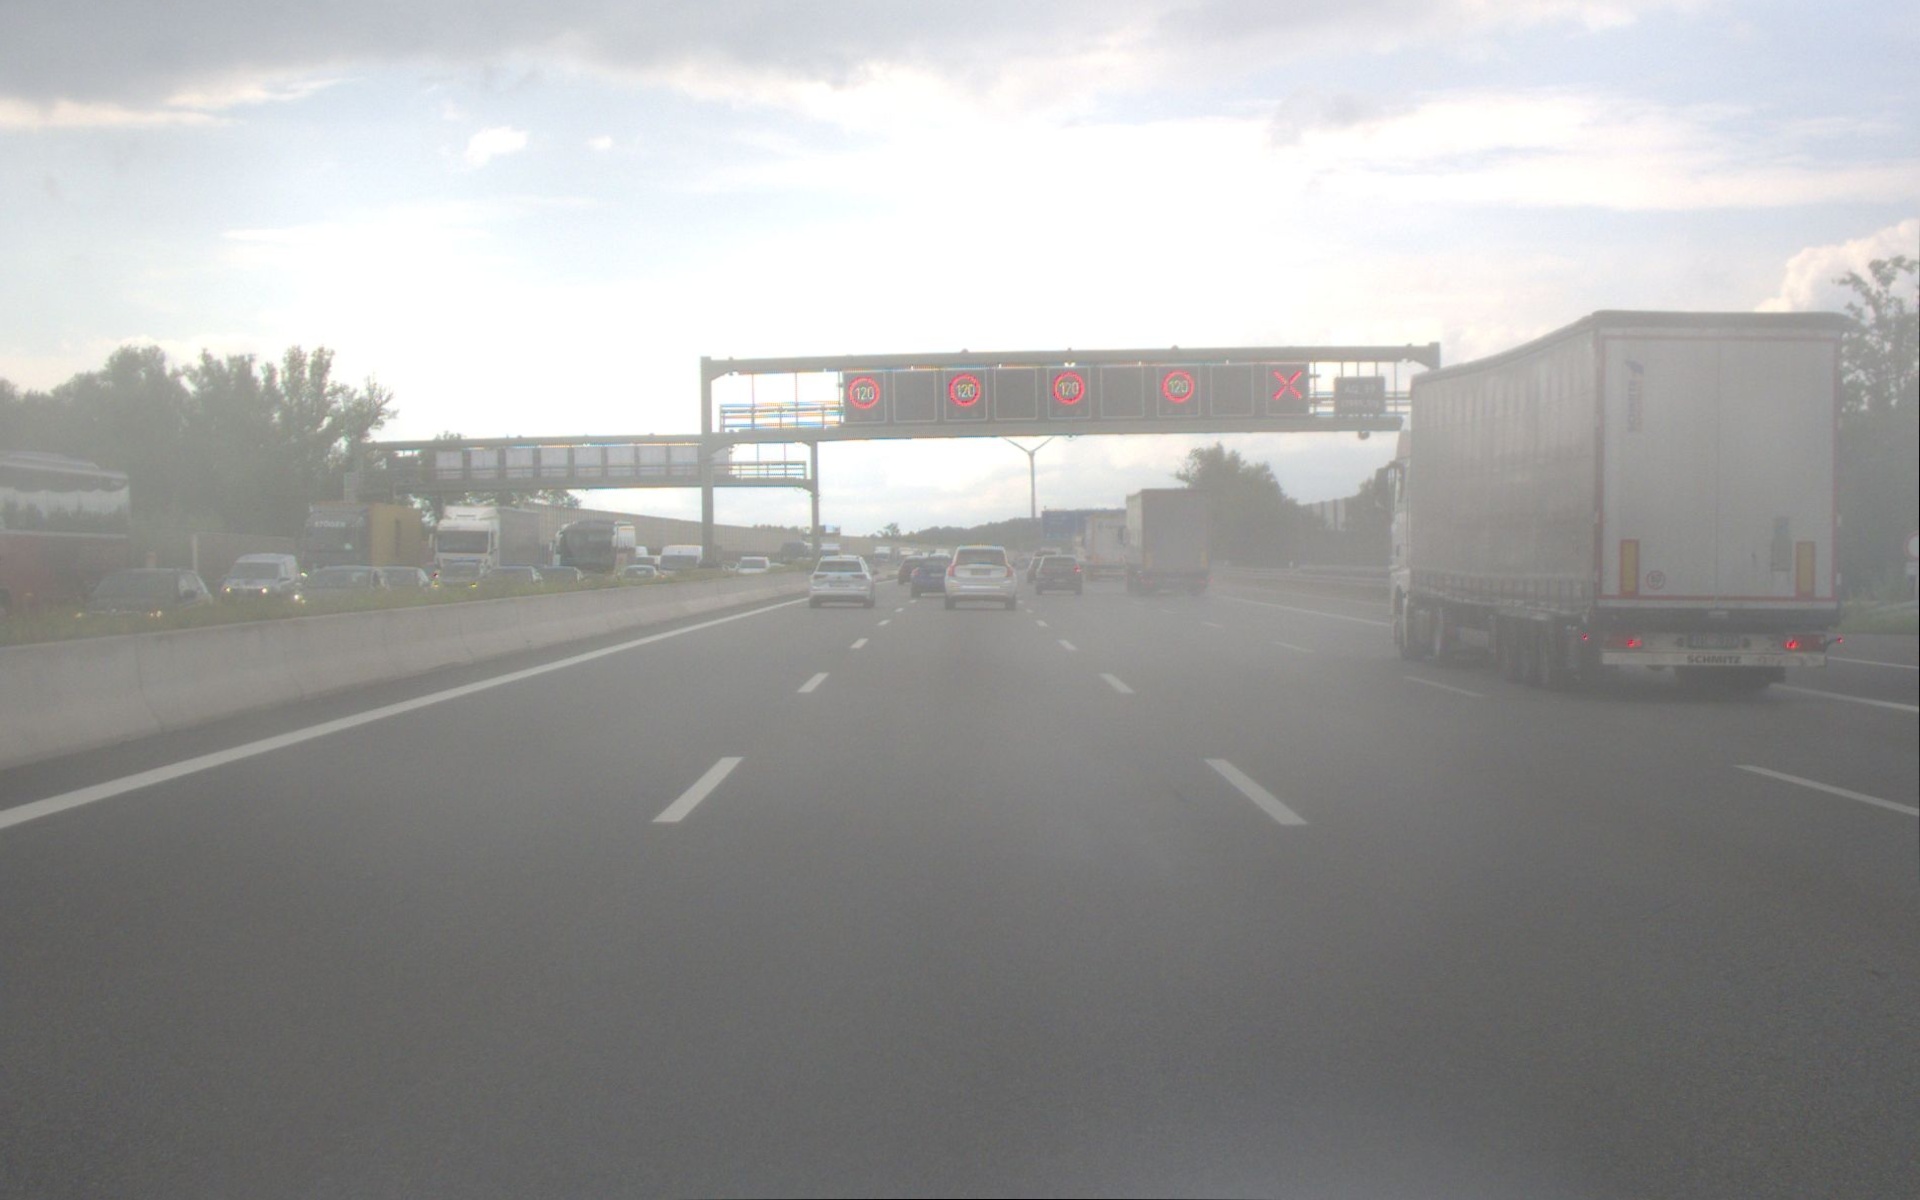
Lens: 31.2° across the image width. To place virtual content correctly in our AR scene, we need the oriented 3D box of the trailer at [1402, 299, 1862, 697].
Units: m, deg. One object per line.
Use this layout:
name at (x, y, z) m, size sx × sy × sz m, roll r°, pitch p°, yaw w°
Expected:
trailer at (7.715, -1.165, 41.889) m, size 2.961 × 4.006 × 14.118 m, roll 0°, pitch 1°, yaw 1°

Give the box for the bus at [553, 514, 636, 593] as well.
bus at (-17.587, -2.218, 166.065) m, size 2.654 × 3.667 × 10.634 m, roll 0°, pitch 0°, yaw 1°

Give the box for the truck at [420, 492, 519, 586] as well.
truck at (-21.303, -2.626, 149.703) m, size 2.886 × 3.948 × 7.535 m, roll 1°, pitch 1°, yaw 2°

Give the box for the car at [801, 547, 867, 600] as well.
car at (-3.520, -0.758, 96.534) m, size 1.772 × 1.436 × 3.874 m, roll 0°, pitch 1°, yaw -1°

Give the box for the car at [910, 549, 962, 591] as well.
car at (-0.883, -1.069, 122.730) m, size 1.772 × 1.436 × 4.056 m, roll 0°, pitch 1°, yaw -1°

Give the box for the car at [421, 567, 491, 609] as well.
car at (-17.822, -0.444, 121.724) m, size 1.787 × 1.377 × 4.861 m, roll 1°, pitch 1°, yaw -1°

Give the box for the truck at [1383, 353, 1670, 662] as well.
truck at (7.797, -1.271, 48.172) m, size 2.961 × 4.006 × 6.589 m, roll 0°, pitch 1°, yaw 1°

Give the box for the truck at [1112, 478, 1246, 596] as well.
truck at (8.402, -2.424, 133.728) m, size 4.180 × 4.273 × 12.613 m, roll 1°, pitch 1°, yaw -1°

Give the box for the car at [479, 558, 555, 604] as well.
car at (-13.907, -0.606, 108.132) m, size 1.787 × 1.377 × 4.861 m, roll 1°, pitch 1°, yaw -1°

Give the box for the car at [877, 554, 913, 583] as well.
car at (-3.325, -1.627, 175.600) m, size 1.772 × 1.436 × 4.056 m, roll 0°, pitch 1°, yaw -2°

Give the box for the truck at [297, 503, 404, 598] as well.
truck at (-25.861, -2.083, 146.249) m, size 3.029 × 3.919 × 7.710 m, roll 0°, pitch 0°, yaw 1°

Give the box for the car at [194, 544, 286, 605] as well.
car at (-21.234, -0.757, 101.502) m, size 1.790 × 1.733 × 4.578 m, roll 1°, pitch 1°, yaw -1°

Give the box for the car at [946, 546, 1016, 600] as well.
car at (0.560, -0.763, 94.553) m, size 1.772 × 1.436 × 4.056 m, roll 0°, pitch 1°, yaw -1°

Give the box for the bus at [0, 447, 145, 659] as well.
bus at (-17.845, -0.889, 63.023) m, size 2.890 × 3.599 × 12.760 m, roll 1°, pitch 1°, yaw -1°

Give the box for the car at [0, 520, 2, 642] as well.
car at (-13.914, -0.245, 44.637) m, size 1.787 × 1.660 × 4.296 m, roll 1°, pitch 1°, yaw -1°

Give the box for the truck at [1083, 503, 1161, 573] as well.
truck at (9.982, -3.806, 213.747) m, size 4.244 × 4.162 × 11.989 m, roll 1°, pitch 1°, yaw 0°

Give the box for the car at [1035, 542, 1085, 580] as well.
car at (3.871, -1.538, 133.620) m, size 1.836 × 1.436 × 4.055 m, roll 0°, pitch 1°, yaw 0°

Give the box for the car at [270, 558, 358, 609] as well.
car at (-18.968, -0.497, 101.092) m, size 1.716 × 1.421 × 4.861 m, roll 1°, pitch 1°, yaw -1°

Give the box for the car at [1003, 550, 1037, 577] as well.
car at (3.299, -2.015, 190.011) m, size 1.836 × 1.436 × 4.055 m, roll 0°, pitch 1°, yaw 0°
